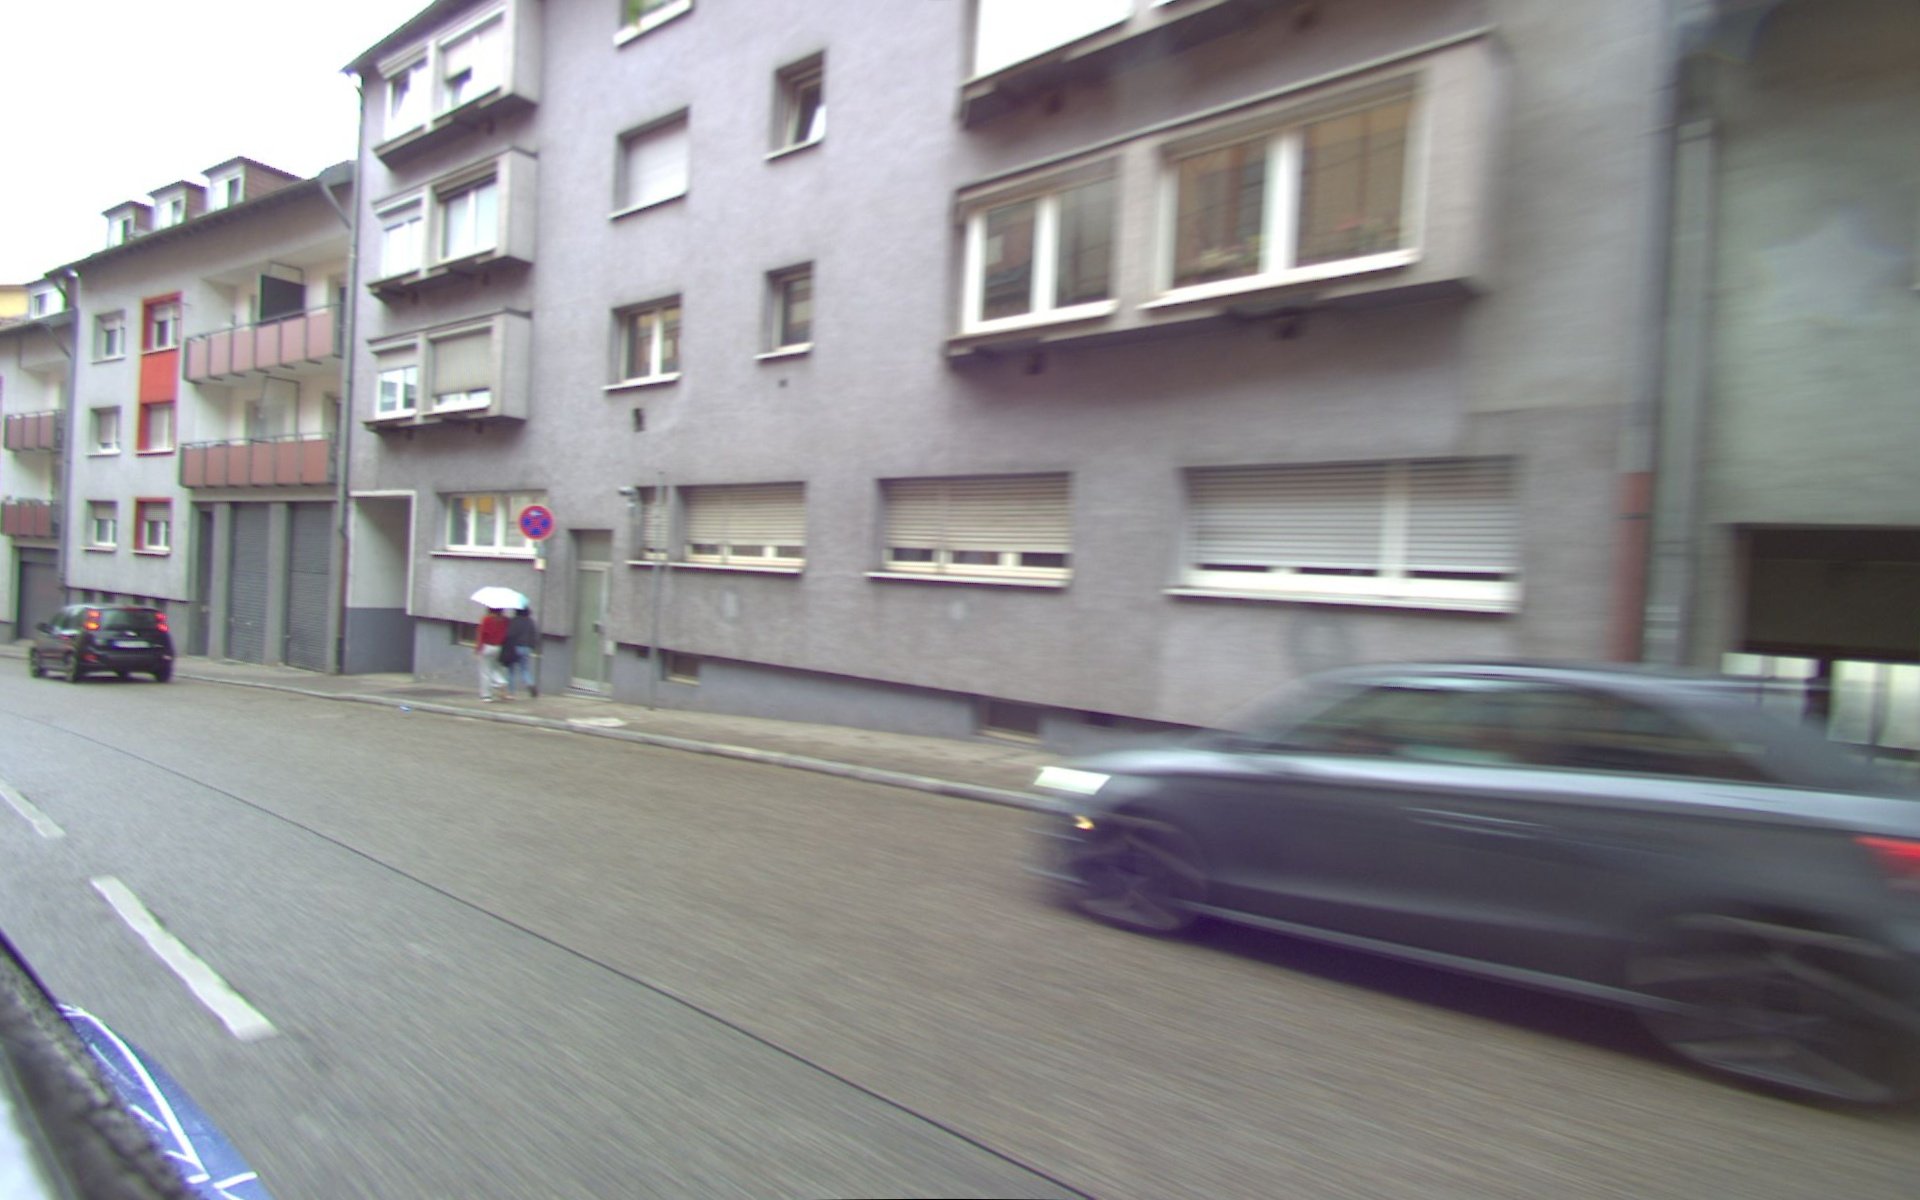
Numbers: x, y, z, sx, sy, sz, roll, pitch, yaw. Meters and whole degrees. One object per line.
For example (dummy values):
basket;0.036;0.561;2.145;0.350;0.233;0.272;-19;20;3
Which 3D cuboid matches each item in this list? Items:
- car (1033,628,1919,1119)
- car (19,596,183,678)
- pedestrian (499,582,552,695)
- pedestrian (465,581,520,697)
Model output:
car;2.351;0.867;4.452;3.850;1.389;1.627;-1;-4;42
car;-17.263;0.742;20.318;3.368;1.508;1.630;0;-4;35
pedestrian;-7.081;0.627;16.489;0.621;1.789;0.518;-1;-3;37
pedestrian;-7.420;0.613;16.075;0.621;1.789;0.518;-1;-3;37
